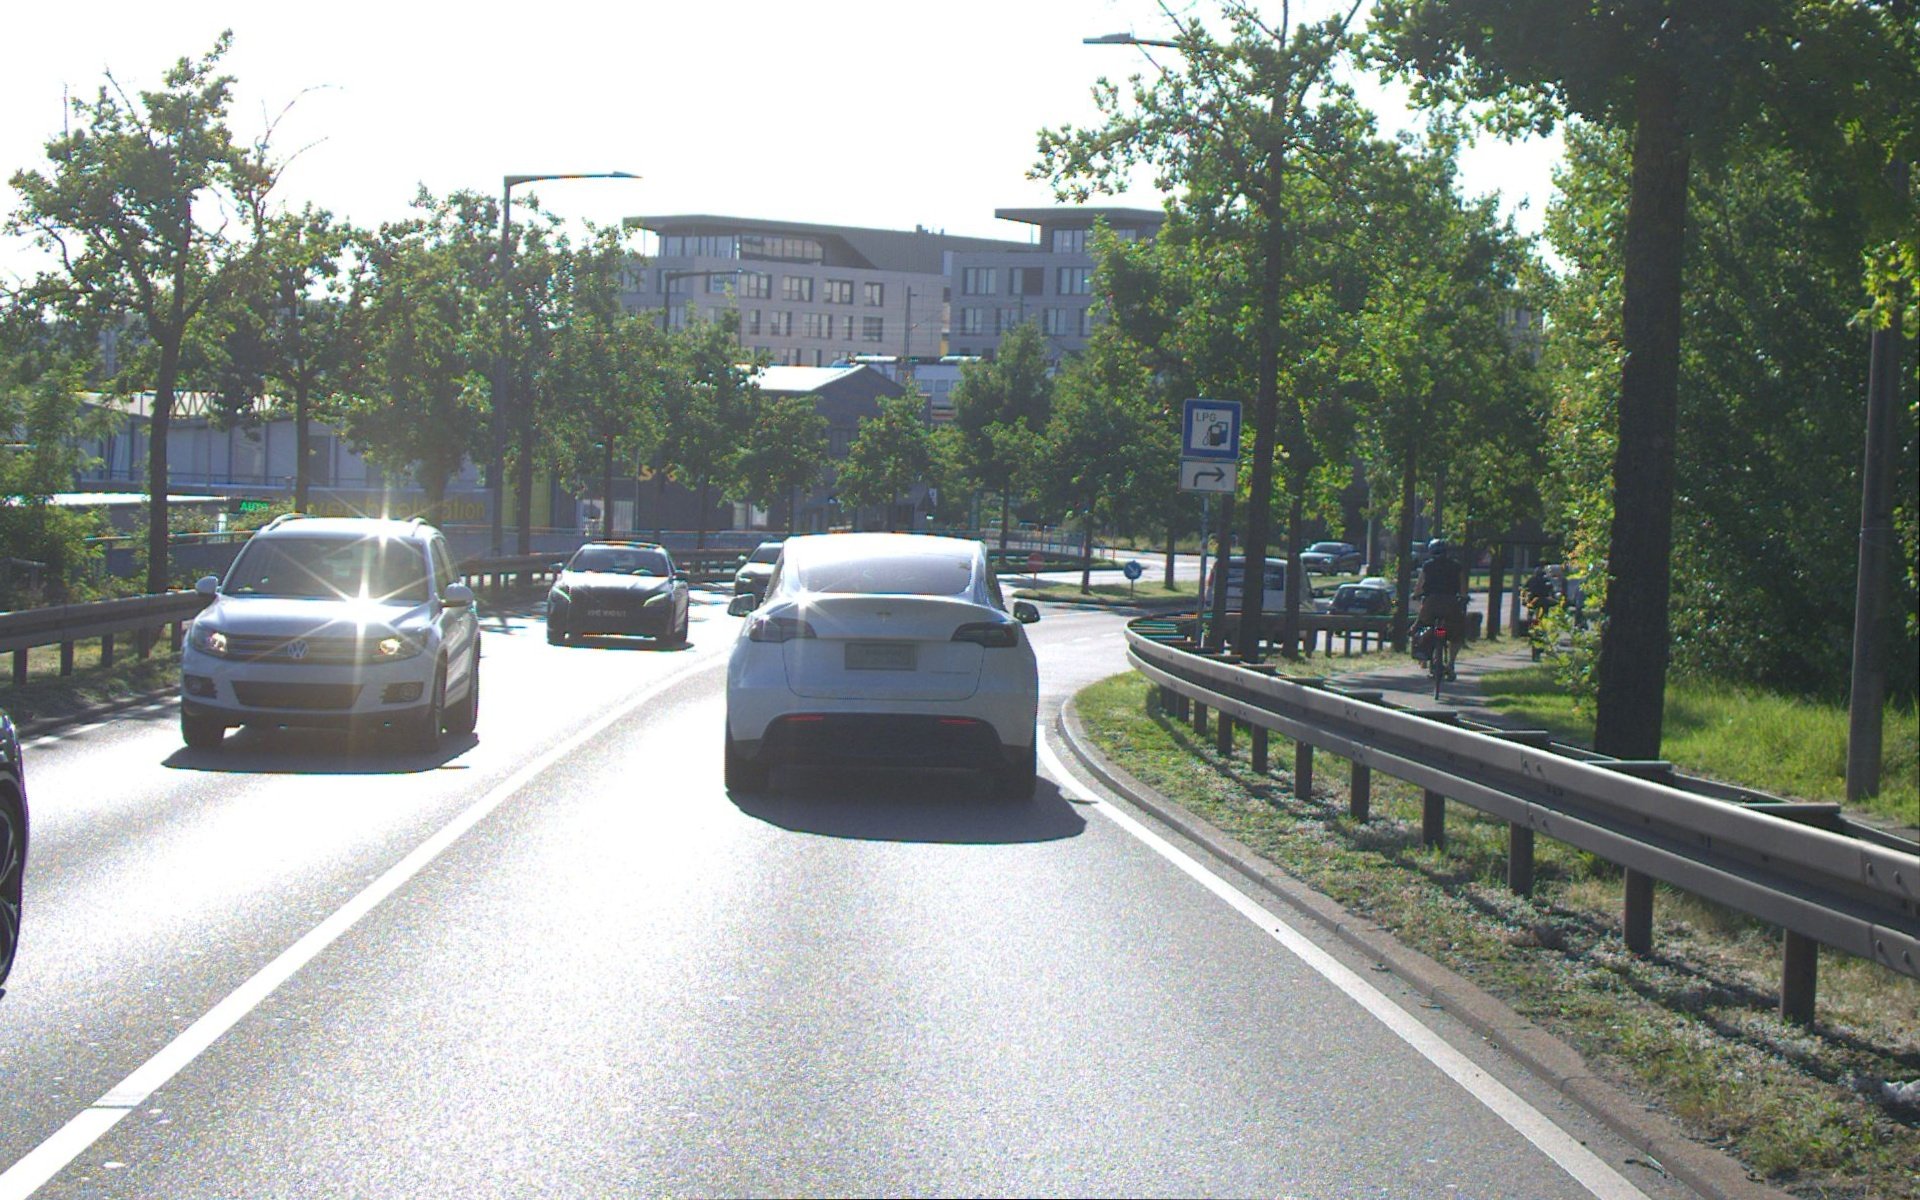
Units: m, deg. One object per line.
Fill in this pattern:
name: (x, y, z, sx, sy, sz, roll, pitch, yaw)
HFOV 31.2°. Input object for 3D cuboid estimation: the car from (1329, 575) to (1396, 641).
car: (10.733, 0.192, 91.814, 1.604, 1.429, 3.678, 4, 4, 5)

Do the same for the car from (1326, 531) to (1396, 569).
car: (17.990, -2.217, 154.188, 1.765, 1.484, 4.271, 5, 1, 25)

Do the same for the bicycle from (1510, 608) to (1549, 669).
bicycle: (10.920, 0.735, 65.931, 0.695, 1.091, 2.117, 1, 1, 9)

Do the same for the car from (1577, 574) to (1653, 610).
car: (30.306, -0.368, 158.930, 1.712, 1.517, 3.733, 5, 4, 41)

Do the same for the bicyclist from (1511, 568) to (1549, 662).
bicyclist: (10.921, 0.281, 65.838, 0.675, 1.770, 0.948, 1, 1, 10)

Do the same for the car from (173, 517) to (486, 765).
car: (-4.556, 0.237, 25.334, 1.728, 1.652, 3.982, 1, 1, -3)

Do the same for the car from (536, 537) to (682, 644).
car: (-5.044, -0.174, 49.814, 1.691, 1.436, 4.216, 1, 1, -1)

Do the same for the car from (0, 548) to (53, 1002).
car: (-4.009, 0.596, 9.560, 1.849, 1.486, 4.717, 1, 1, -2)

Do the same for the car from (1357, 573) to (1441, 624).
car: (14.632, -0.073, 114.515, 1.765, 1.470, 4.285, 4, 3, 20)

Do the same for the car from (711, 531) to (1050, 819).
car: (-0.618, 0.396, 22.227, 1.914, 1.635, 4.411, 1, 1, -4)

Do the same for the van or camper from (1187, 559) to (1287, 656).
van or camper: (5.786, 0.125, 71.491, 1.959, 1.877, 4.879, 1, 1, 5)

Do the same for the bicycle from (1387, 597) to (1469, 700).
bicycle: (5.065, 0.527, 37.159, 0.701, 1.071, 1.920, 1, -1, 12)

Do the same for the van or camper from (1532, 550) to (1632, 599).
van or camper: (24.735, -1.024, 136.549, 1.830, 1.784, 4.534, 6, 4, 39)

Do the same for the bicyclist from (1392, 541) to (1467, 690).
bicyclist: (5.097, 0.157, 37.291, 0.708, 1.573, 1.004, 1, 1, 12)

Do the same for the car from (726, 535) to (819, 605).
car: (-4.171, -0.693, 77.078, 1.809, 1.491, 4.369, 1, 1, 0)
